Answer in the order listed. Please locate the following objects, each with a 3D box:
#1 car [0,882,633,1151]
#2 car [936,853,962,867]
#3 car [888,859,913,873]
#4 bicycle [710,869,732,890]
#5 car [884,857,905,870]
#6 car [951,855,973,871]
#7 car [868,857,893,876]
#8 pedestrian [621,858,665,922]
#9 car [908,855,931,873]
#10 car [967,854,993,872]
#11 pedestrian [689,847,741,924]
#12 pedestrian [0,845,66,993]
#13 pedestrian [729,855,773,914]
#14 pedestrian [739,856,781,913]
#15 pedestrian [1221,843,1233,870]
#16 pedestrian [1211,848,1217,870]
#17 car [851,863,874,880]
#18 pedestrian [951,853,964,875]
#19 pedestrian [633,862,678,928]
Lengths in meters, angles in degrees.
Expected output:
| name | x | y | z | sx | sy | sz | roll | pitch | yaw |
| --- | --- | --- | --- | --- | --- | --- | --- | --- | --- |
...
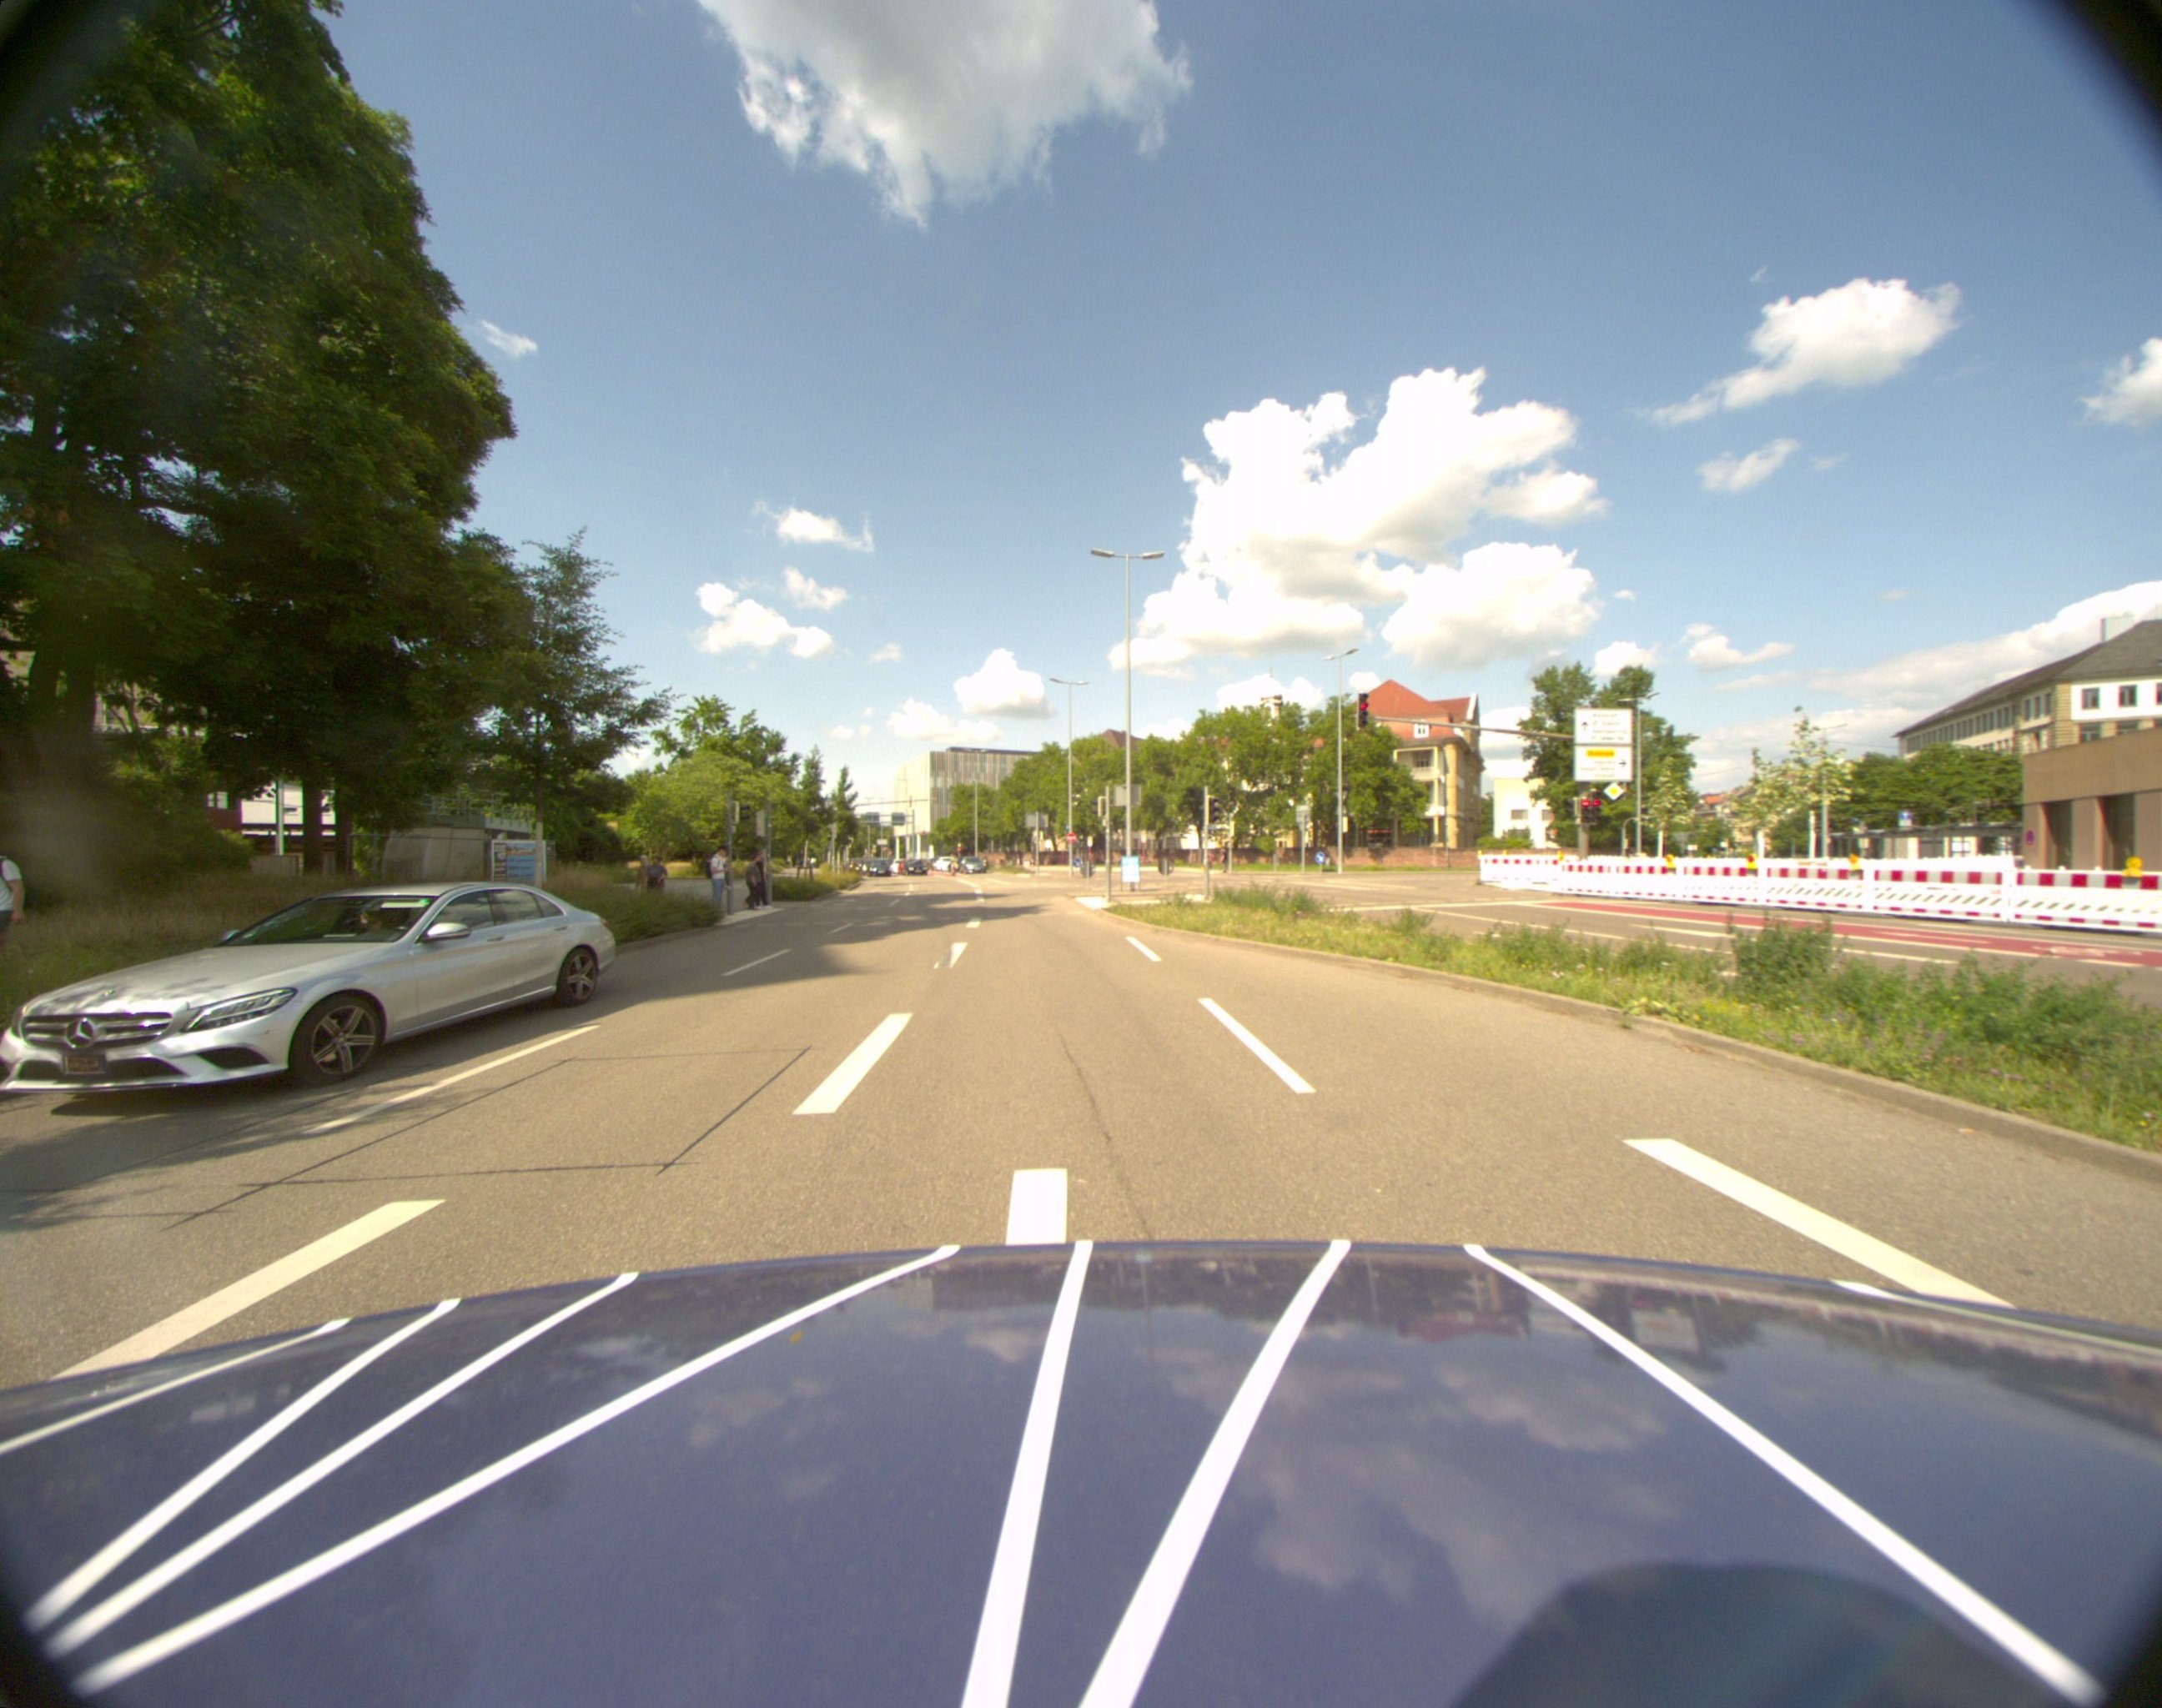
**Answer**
| name | x | y | z | sx | sy | sz | roll | pitch | yaw |
| --- | --- | --- | --- | --- | --- | --- | --- | --- | --- |
| car | -6.500 | 1.101 | 7.088 | 1.936 | 1.447 | 4.757 | -1 | 0 | -2 |
| car | -13.692 | 0.638 | 78.768 | 1.781 | 1.346 | 3.992 | -2 | 1 | -23 |
| car | -16.342 | 1.057 | 68.766 | 1.600 | 1.127 | 3.622 | -1 | 0 | -23 |
| bicycle | -16.084 | 1.117 | 33.981 | 0.649 | 0.876 | 1.819 | -1 | 0 | -18 |
| car | -18.411 | 0.930 | 75.111 | 1.911 | 1.127 | 4.096 | -1 | 2 | -13 |
| car | -11.269 | 0.845 | 71.965 | 1.734 | 1.327 | 3.784 | -2 | 1 | -13 |
| car | -16.431 | 0.969 | 62.436 | 1.827 | 1.454 | 3.995 | -1 | 0 | -14 |
| pedestrian | -12.210 | 0.986 | 21.185 | 0.768 | 1.725 | 0.718 | -2 | 1 | -8 |
| car | -13.666 | 0.820 | 64.182 | 1.827 | 1.454 | 3.995 | -1 | 0 | -13 |
| car | -8.683 | 0.739 | 65.188 | 2.000 | 1.368 | 4.265 | -2 | 1 | -10 |
| pedestrian | -9.895 | 0.838 | 20.577 | 0.965 | 2.002 | 0.768 | -2 | 1 | -2 |
| pedestrian | -12.850 | 0.756 | 8.940 | 0.616 | 1.690 | 0.889 | 2 | 1 | -5 |
| pedestrian | -10.048 | 0.907 | 23.162 | 0.928 | 1.725 | 0.768 | -2 | 1 | -2 |
| pedestrian | -10.091 | 0.948 | 23.939 | 0.928 | 1.725 | 0.768 | -2 | 1 | -2 |
| pedestrian | 11.109 | 0.192 | 57.898 | 0.582 | 1.982 | 0.621 | -3 | 1 | -27 |
| pedestrian | 10.373 | 0.388 | 59.361 | 0.369 | 1.722 | 0.451 | -2 | 1 | 19 |
| car | -19.750 | 1.566 | 68.799 | 1.827 | 1.454 | 3.995 | -1 | 0 | -13 |
| pedestrian | -9.761 | 0.789 | 60.151 | 0.739 | 1.704 | 0.874 | -3 | 1 | -22 |
| pedestrian | -11.489 | 1.087 | 20.543 | 0.768 | 1.725 | 0.718 | -2 | 1 | -8 |
